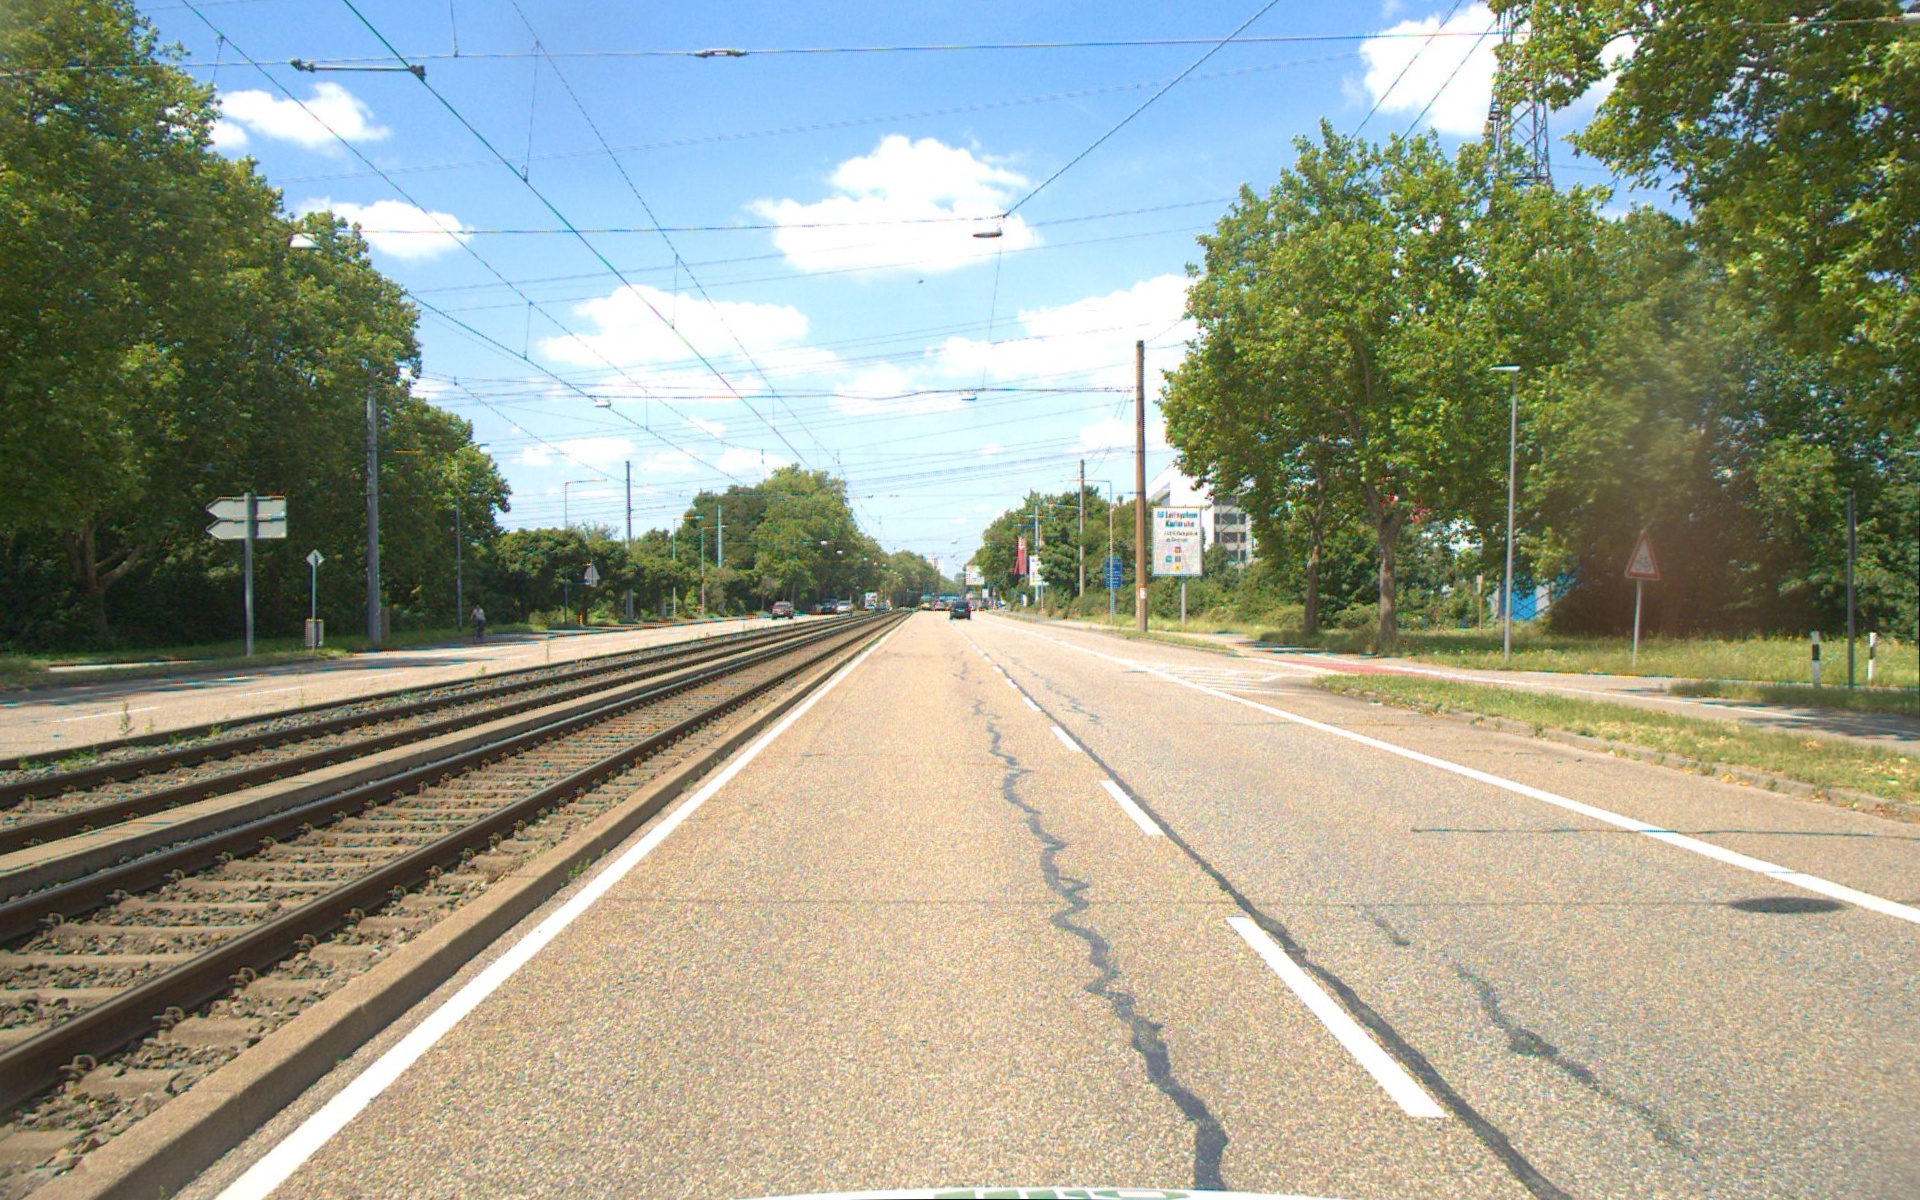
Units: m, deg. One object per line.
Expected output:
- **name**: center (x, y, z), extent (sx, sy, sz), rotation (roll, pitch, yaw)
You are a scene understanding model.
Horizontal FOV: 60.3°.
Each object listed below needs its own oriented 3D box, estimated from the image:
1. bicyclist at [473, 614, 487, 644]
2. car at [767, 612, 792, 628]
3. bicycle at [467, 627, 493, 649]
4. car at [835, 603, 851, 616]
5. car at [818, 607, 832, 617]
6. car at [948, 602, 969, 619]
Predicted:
- **bicyclist**: center (-20.926, 1.255, 72.092), extent (0.445, 1.295, 0.398), rotation (0, 0, 1)
- **car**: center (-16.344, 1.782, 150.219), extent (1.837, 1.355, 3.917), rotation (-2, 0, -1)
- **bicycle**: center (-20.926, 1.647, 72.072), extent (0.505, 0.872, 1.932), rotation (-1, 0, 2)
- **car**: center (-13.941, 1.146, 196.819), extent (1.681, 1.453, 3.900), rotation (-1, 0, -1)
- **car**: center (-17.595, 1.606, 216.031), extent (1.569, 1.295, 3.835), rotation (-1, 0, -1)
- **car**: center (-0.132, 0.885, 139.245), extent (1.554, 1.366, 3.271), rotation (-1, 1, -3)
